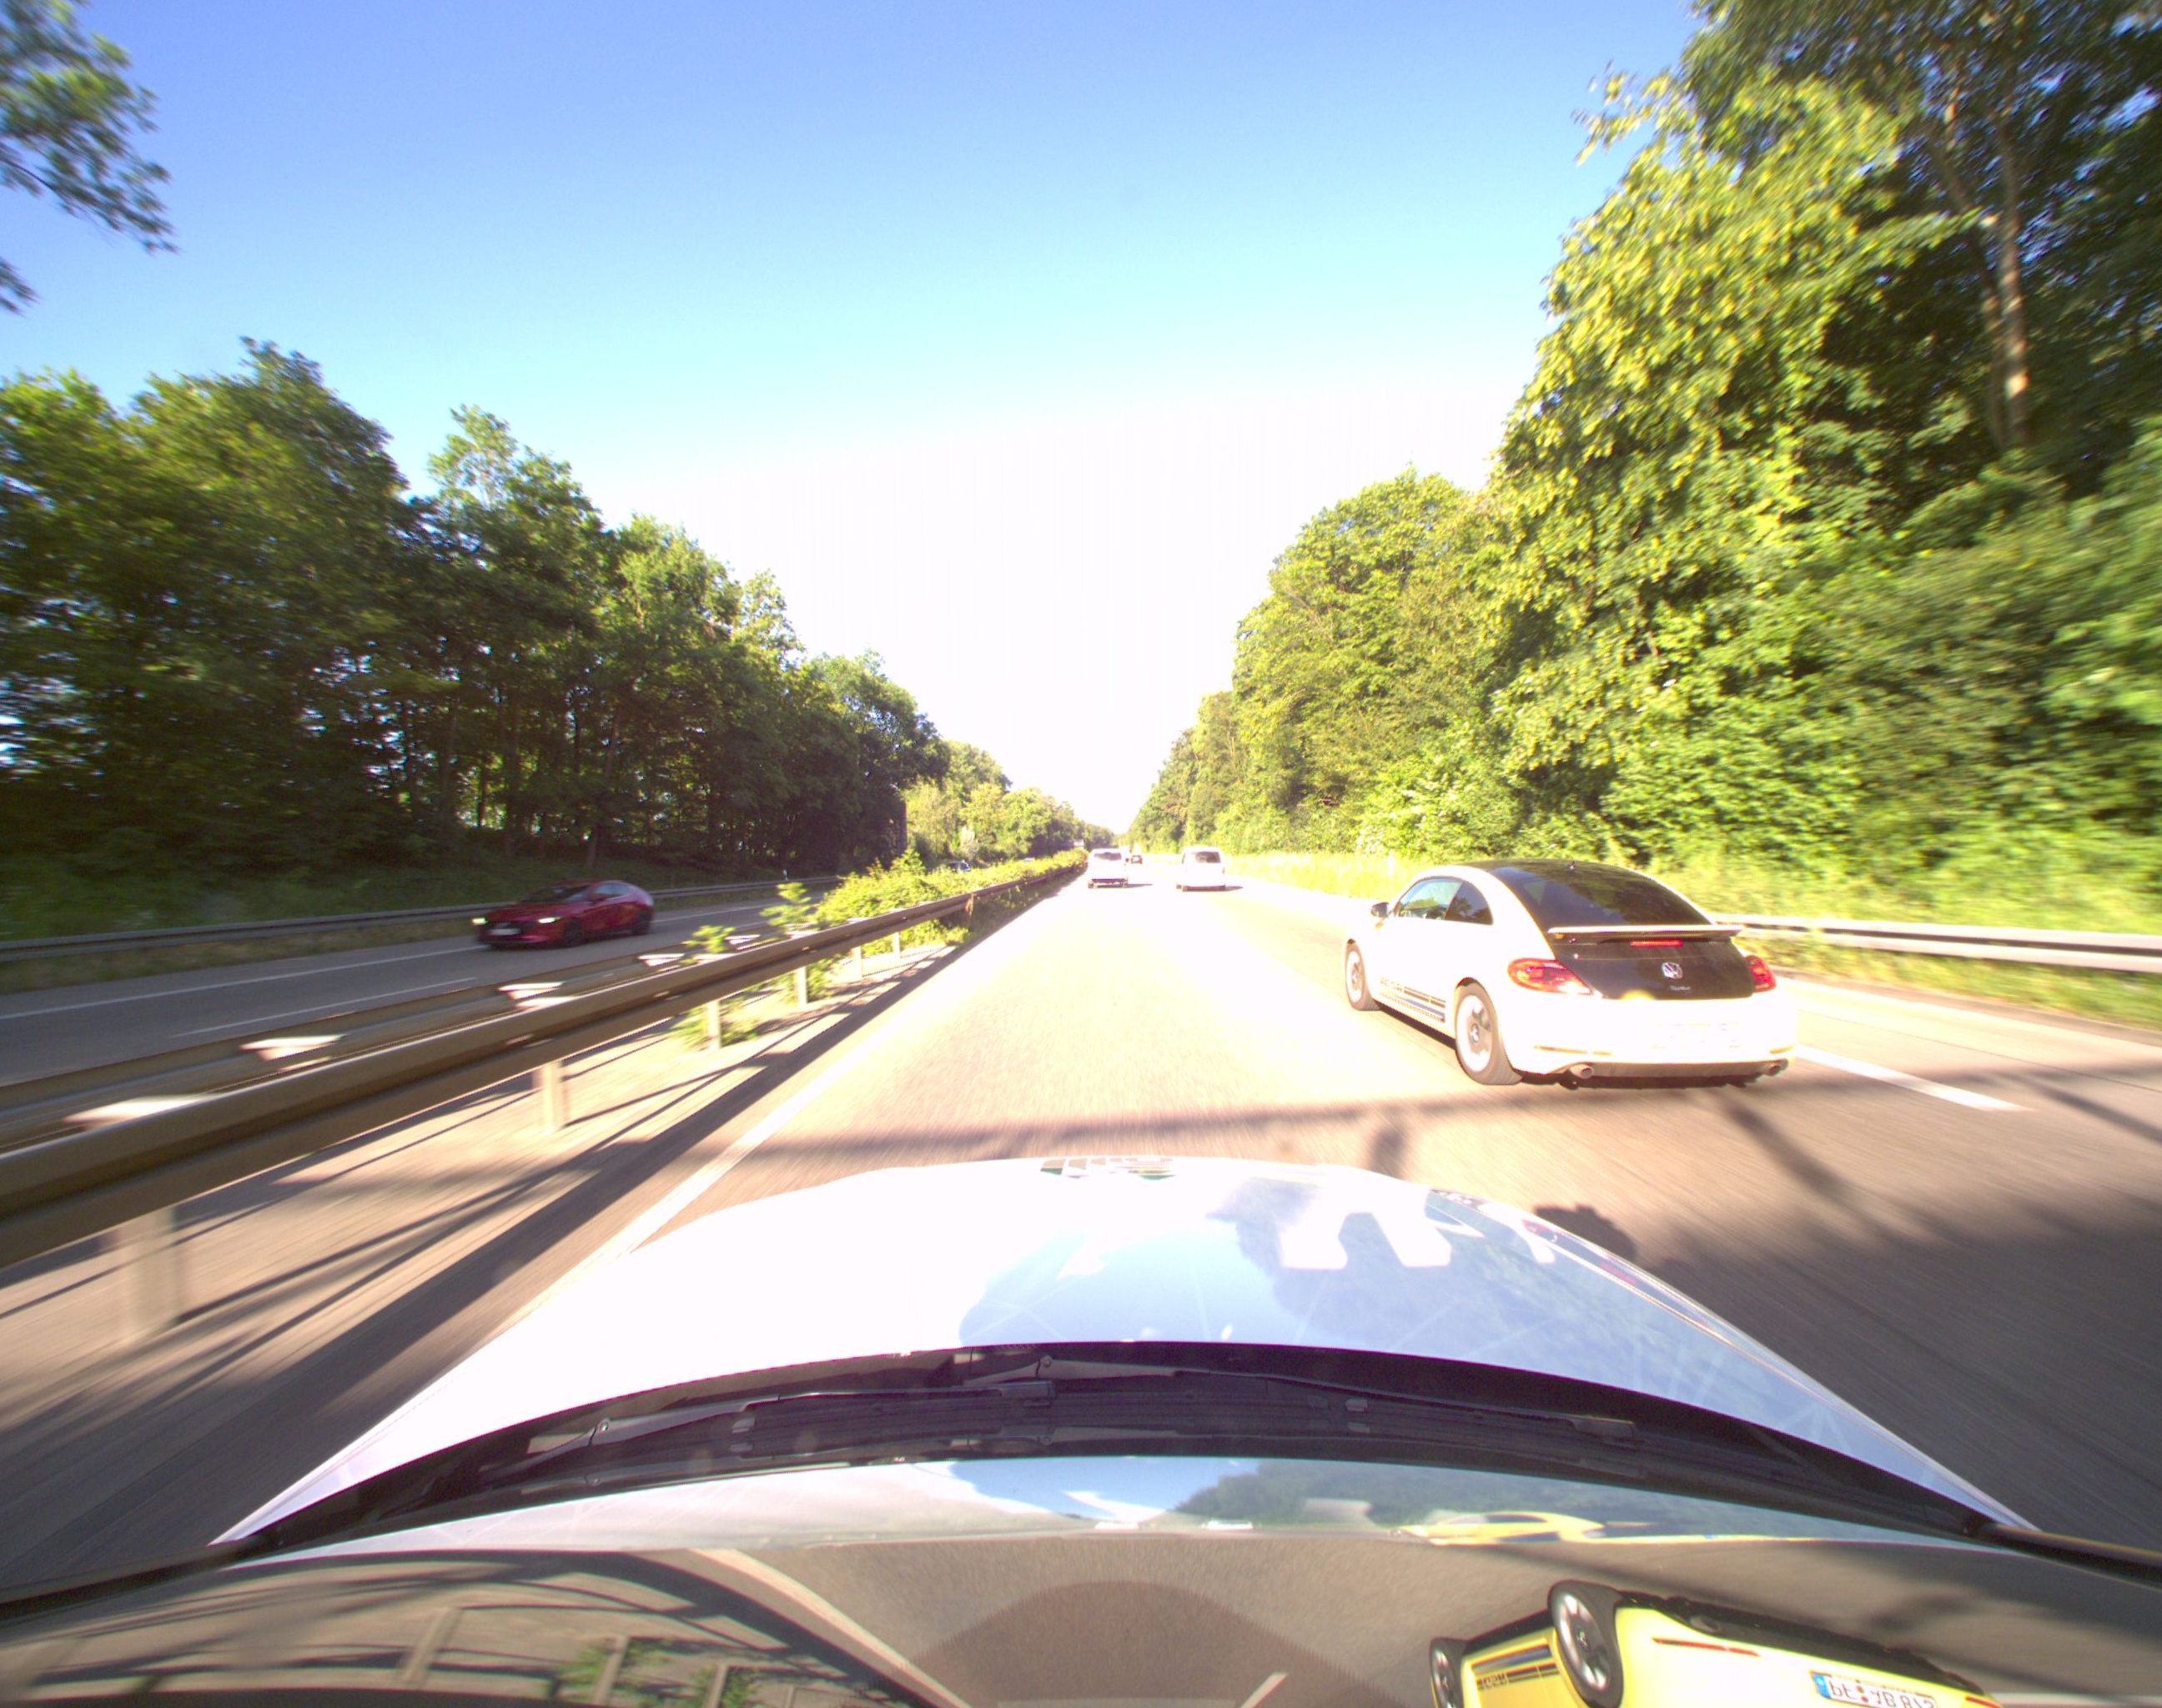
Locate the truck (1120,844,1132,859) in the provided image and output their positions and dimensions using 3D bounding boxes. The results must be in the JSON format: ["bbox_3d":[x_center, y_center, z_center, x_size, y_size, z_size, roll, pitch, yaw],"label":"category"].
[{"bbox_3d":[13.397,-0.719,243.399,3.482,4.172,8.866,-2,0,2],"label":"truck"}]

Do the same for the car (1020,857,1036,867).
[{"bbox_3d":[-7.807,1.169,120.172,1.954,1.450,4.506,-1,0,0],"label":"car"}]

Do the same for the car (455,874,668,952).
[{"bbox_3d":[-11.850,1.271,19.031,1.954,1.450,4.584,-1,0,1],"label":"car"}]

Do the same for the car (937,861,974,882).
[{"bbox_3d":[-9.307,1.258,60.602,1.954,1.450,4.327,-1,0,1],"label":"car"}]

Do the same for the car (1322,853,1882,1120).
[{"bbox_3d":[3.542,0.737,6.709,1.873,1.461,4.356,-1,0,1],"label":"car"}]

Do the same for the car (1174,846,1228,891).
[{"bbox_3d":[4.966,0.573,34.287,1.855,1.770,4.474,-1,0,3],"label":"car"}]

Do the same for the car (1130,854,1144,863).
[{"bbox_3d":[8.489,0.710,124.039,1.986,1.398,4.002,0,0,2],"label":"car"}]

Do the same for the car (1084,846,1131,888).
[{"bbox_3d":[1.178,0.582,37.927,2.078,1.828,4.000,-1,0,0],"label":"car"}]
